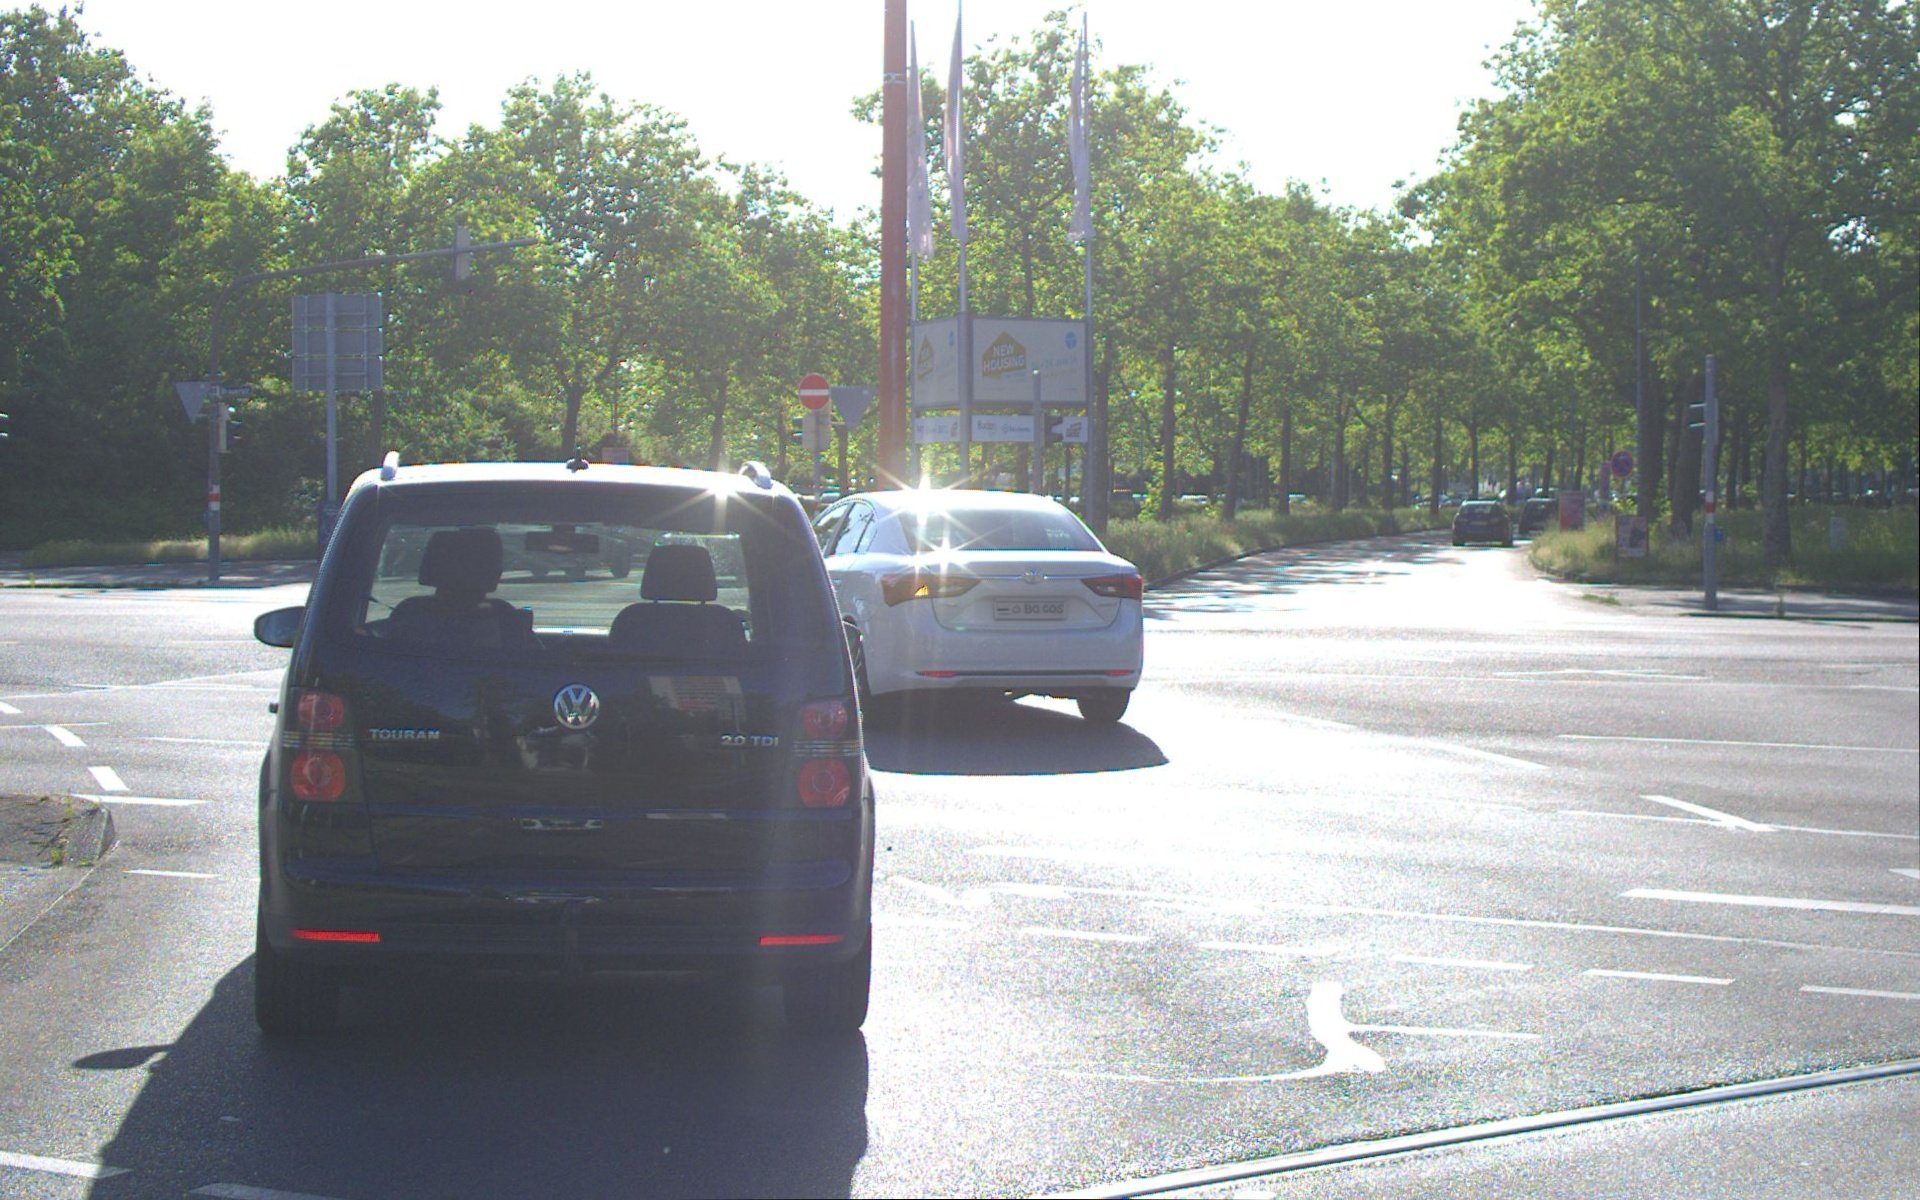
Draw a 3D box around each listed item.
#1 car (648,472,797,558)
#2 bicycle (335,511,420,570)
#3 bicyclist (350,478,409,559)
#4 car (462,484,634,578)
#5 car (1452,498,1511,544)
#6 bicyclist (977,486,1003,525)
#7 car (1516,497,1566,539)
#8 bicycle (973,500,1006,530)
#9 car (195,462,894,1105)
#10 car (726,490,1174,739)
[{"bbox_3d":[-4.367,-1.585,63.779,1.768,1.533,4.090,1,2,10],"label":"car"},{"bbox_3d":[-11.250,-1.154,66.502,0.764,1.087,2.013,1,2,18],"label":"bicycle"},{"bbox_3d":[-11.239,-1.590,66.568,0.760,1.552,0.980,1,2,18],"label":"bicyclist"},{"bbox_3d":[-7.879,-1.345,66.174,1.903,1.720,4.651,1,2,11],"label":"car"},{"bbox_3d":[16.676,-2.534,109.928,1.790,1.383,4.048,2,2,9],"label":"car"},{"bbox_3d":[1.112,-3.510,127.173,0.735,1.431,0.965,0,2,15],"label":"bicyclist"},{"bbox_3d":[23.660,-3.327,140.108,1.873,1.621,3.999,2,1,8],"label":"car"},{"bbox_3d":[1.086,-3.134,127.101,0.735,1.087,2.014,1,2,15],"label":"bicycle"},{"bbox_3d":[-1.277,0.397,11.266,1.767,1.638,4.924,0,2,-5],"label":"car"},{"bbox_3d":[-0.186,0.020,22.551,1.767,1.459,4.368,0,2,-16],"label":"car"}]
